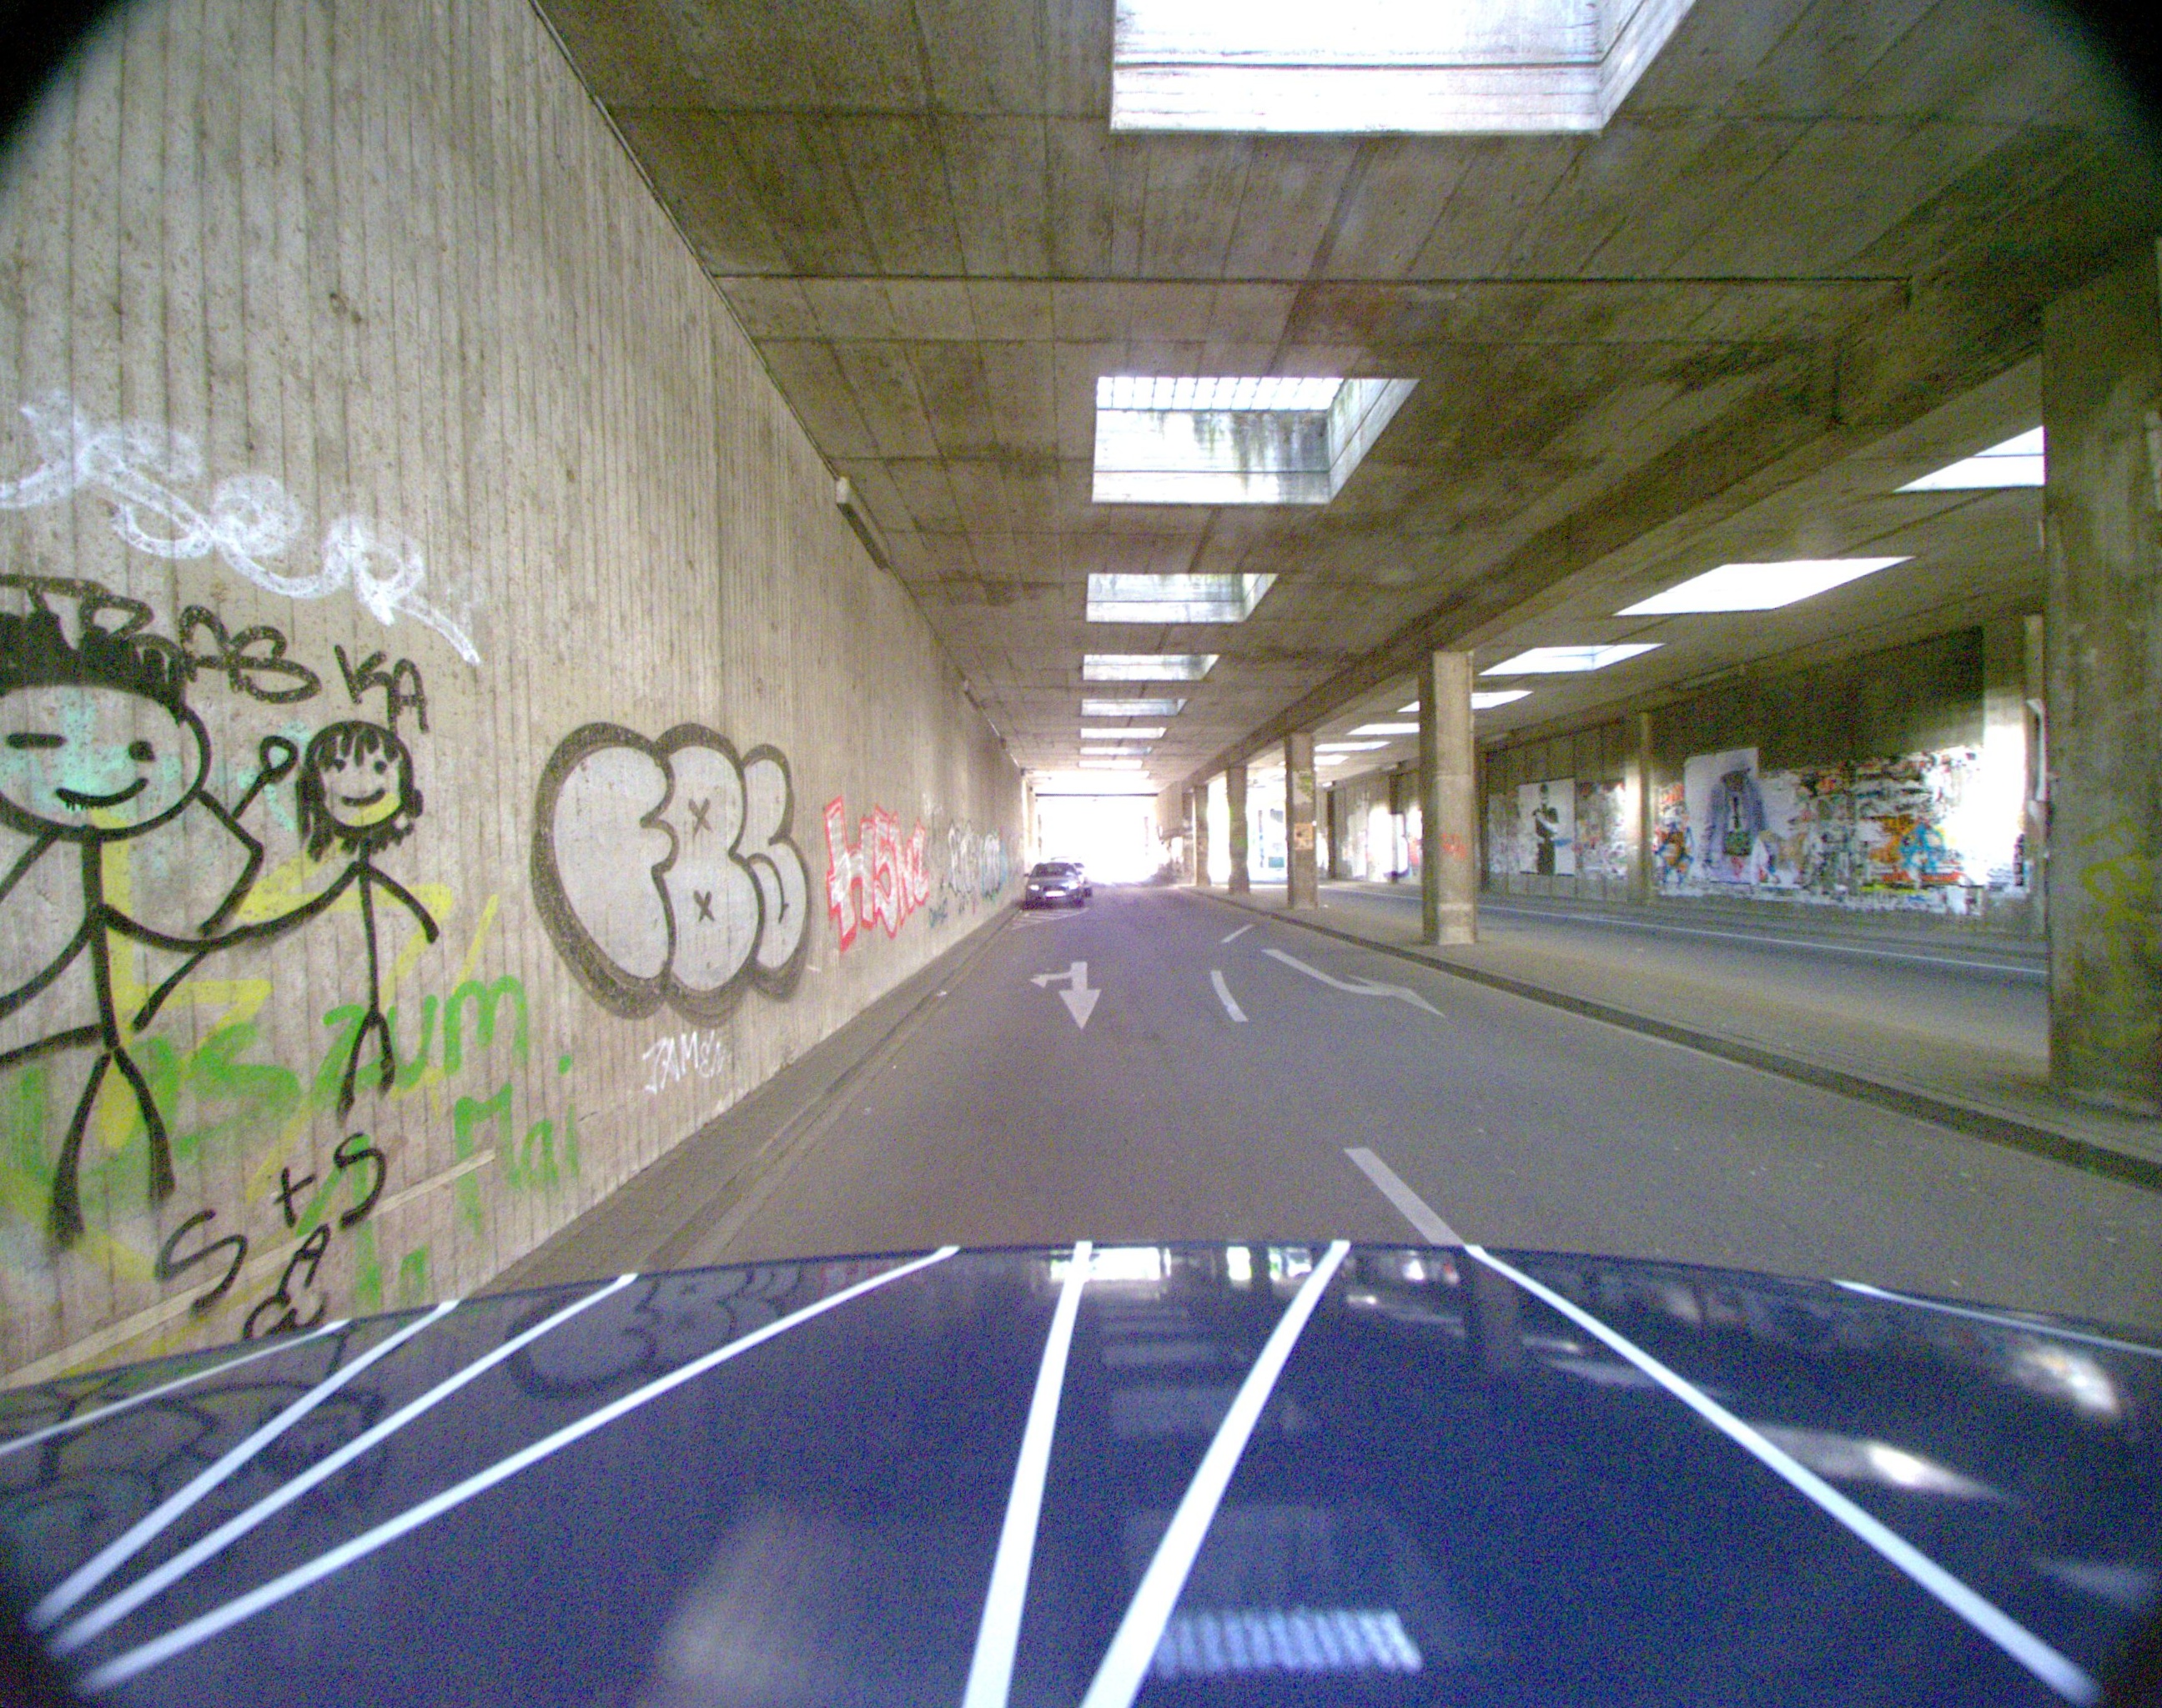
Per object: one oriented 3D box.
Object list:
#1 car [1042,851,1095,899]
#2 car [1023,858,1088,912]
[{"bbox_3d":[-0.431,0.758,29.816,1.861,1.709,4.000,-2,0,1],"label":"car"},{"bbox_3d":[-0.733,0.917,24.038,1.808,1.460,4.000,-2,0,1],"label":"car"}]
